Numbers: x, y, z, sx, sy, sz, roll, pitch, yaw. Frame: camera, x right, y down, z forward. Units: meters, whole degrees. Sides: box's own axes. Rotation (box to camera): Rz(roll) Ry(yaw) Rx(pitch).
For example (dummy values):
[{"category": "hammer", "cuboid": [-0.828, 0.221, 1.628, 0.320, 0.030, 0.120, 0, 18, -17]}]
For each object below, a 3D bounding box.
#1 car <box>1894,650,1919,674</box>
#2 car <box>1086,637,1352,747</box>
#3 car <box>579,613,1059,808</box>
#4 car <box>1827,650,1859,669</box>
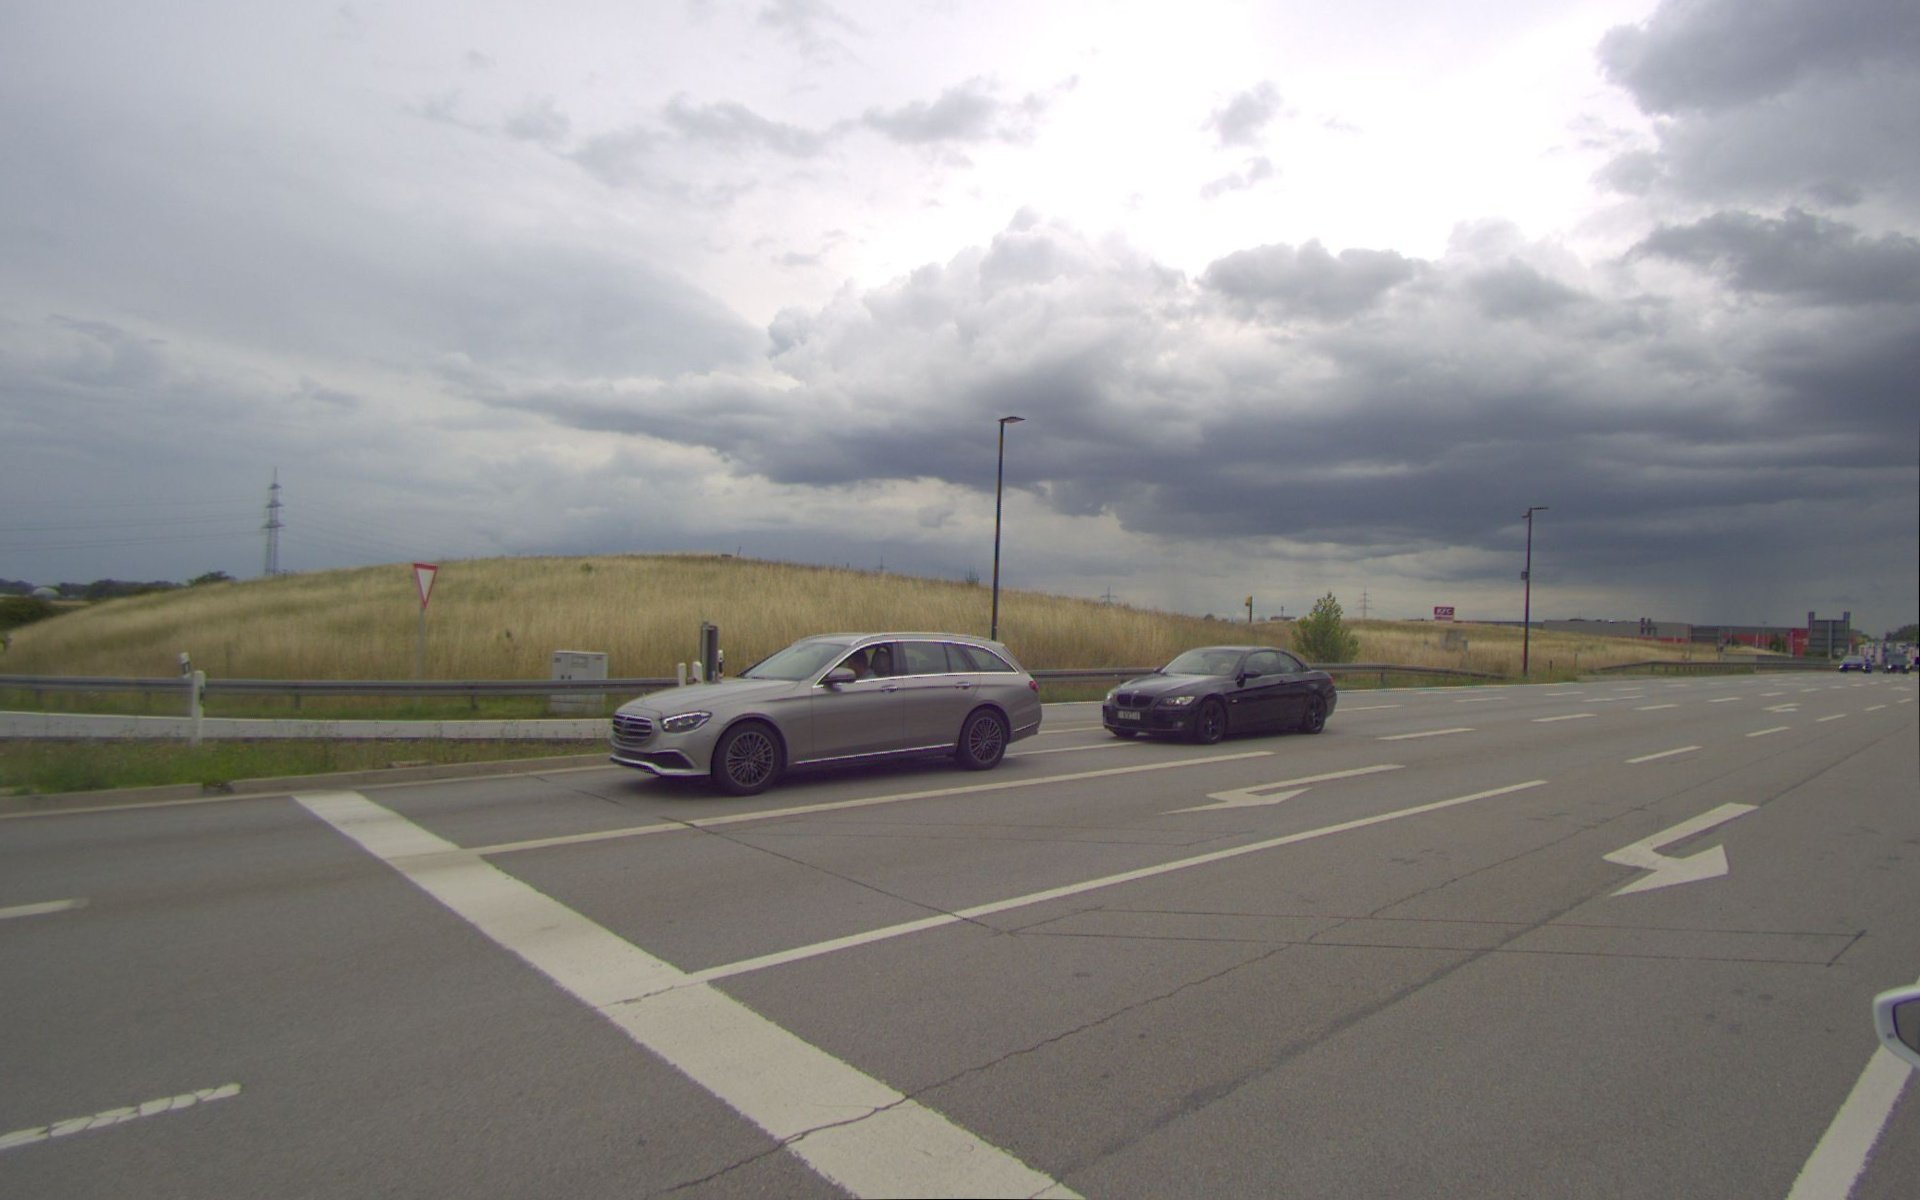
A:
[{"category": "car", "cuboid": [112.415, 7.353, 119.217, 5.964, 2.626, 1.974, 3, -2, -44]}, {"category": "car", "cuboid": [4.127, 1.349, 15.551, 4.640, 1.429, 1.692, 3, -2, -42]}, {"category": "car", "cuboid": [-1.290, 1.030, 10.807, 4.911, 1.631, 1.898, 2, -3, -42]}, {"category": "car", "cuboid": [75.998, 5.096, 86.420, 3.973, 1.571, 1.780, 3, -3, -44]}]
